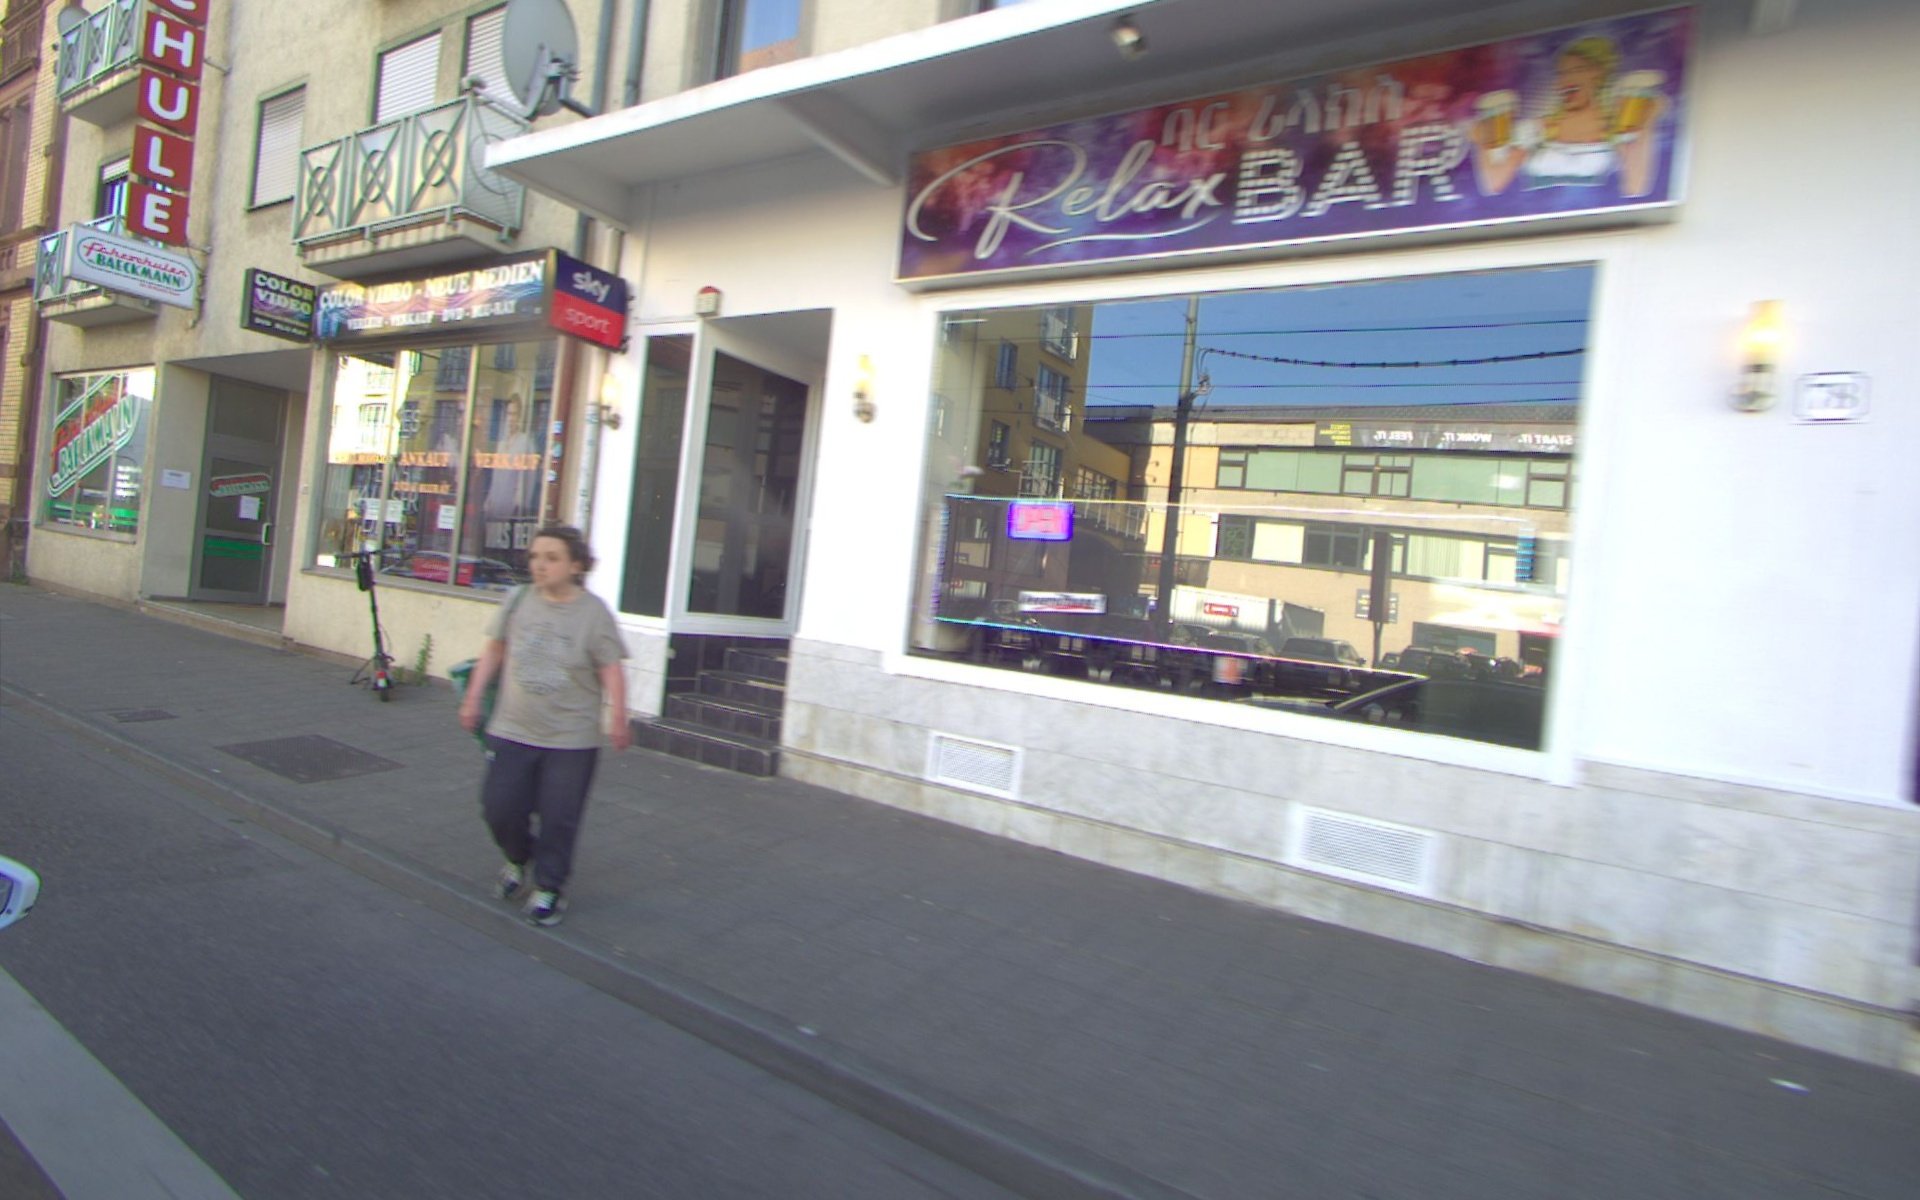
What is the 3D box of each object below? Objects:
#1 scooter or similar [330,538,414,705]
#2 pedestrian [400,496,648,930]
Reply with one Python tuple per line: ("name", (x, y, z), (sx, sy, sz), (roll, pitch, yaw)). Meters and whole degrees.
("scooter or similar", (-5.017, 0.144, 8.556), (0.407, 1.300, 1.269), (-1, 5, -40))
("pedestrian", (-1.746, 0.436, 4.151), (0.639, 1.580, 0.780), (6, 0, -11))
